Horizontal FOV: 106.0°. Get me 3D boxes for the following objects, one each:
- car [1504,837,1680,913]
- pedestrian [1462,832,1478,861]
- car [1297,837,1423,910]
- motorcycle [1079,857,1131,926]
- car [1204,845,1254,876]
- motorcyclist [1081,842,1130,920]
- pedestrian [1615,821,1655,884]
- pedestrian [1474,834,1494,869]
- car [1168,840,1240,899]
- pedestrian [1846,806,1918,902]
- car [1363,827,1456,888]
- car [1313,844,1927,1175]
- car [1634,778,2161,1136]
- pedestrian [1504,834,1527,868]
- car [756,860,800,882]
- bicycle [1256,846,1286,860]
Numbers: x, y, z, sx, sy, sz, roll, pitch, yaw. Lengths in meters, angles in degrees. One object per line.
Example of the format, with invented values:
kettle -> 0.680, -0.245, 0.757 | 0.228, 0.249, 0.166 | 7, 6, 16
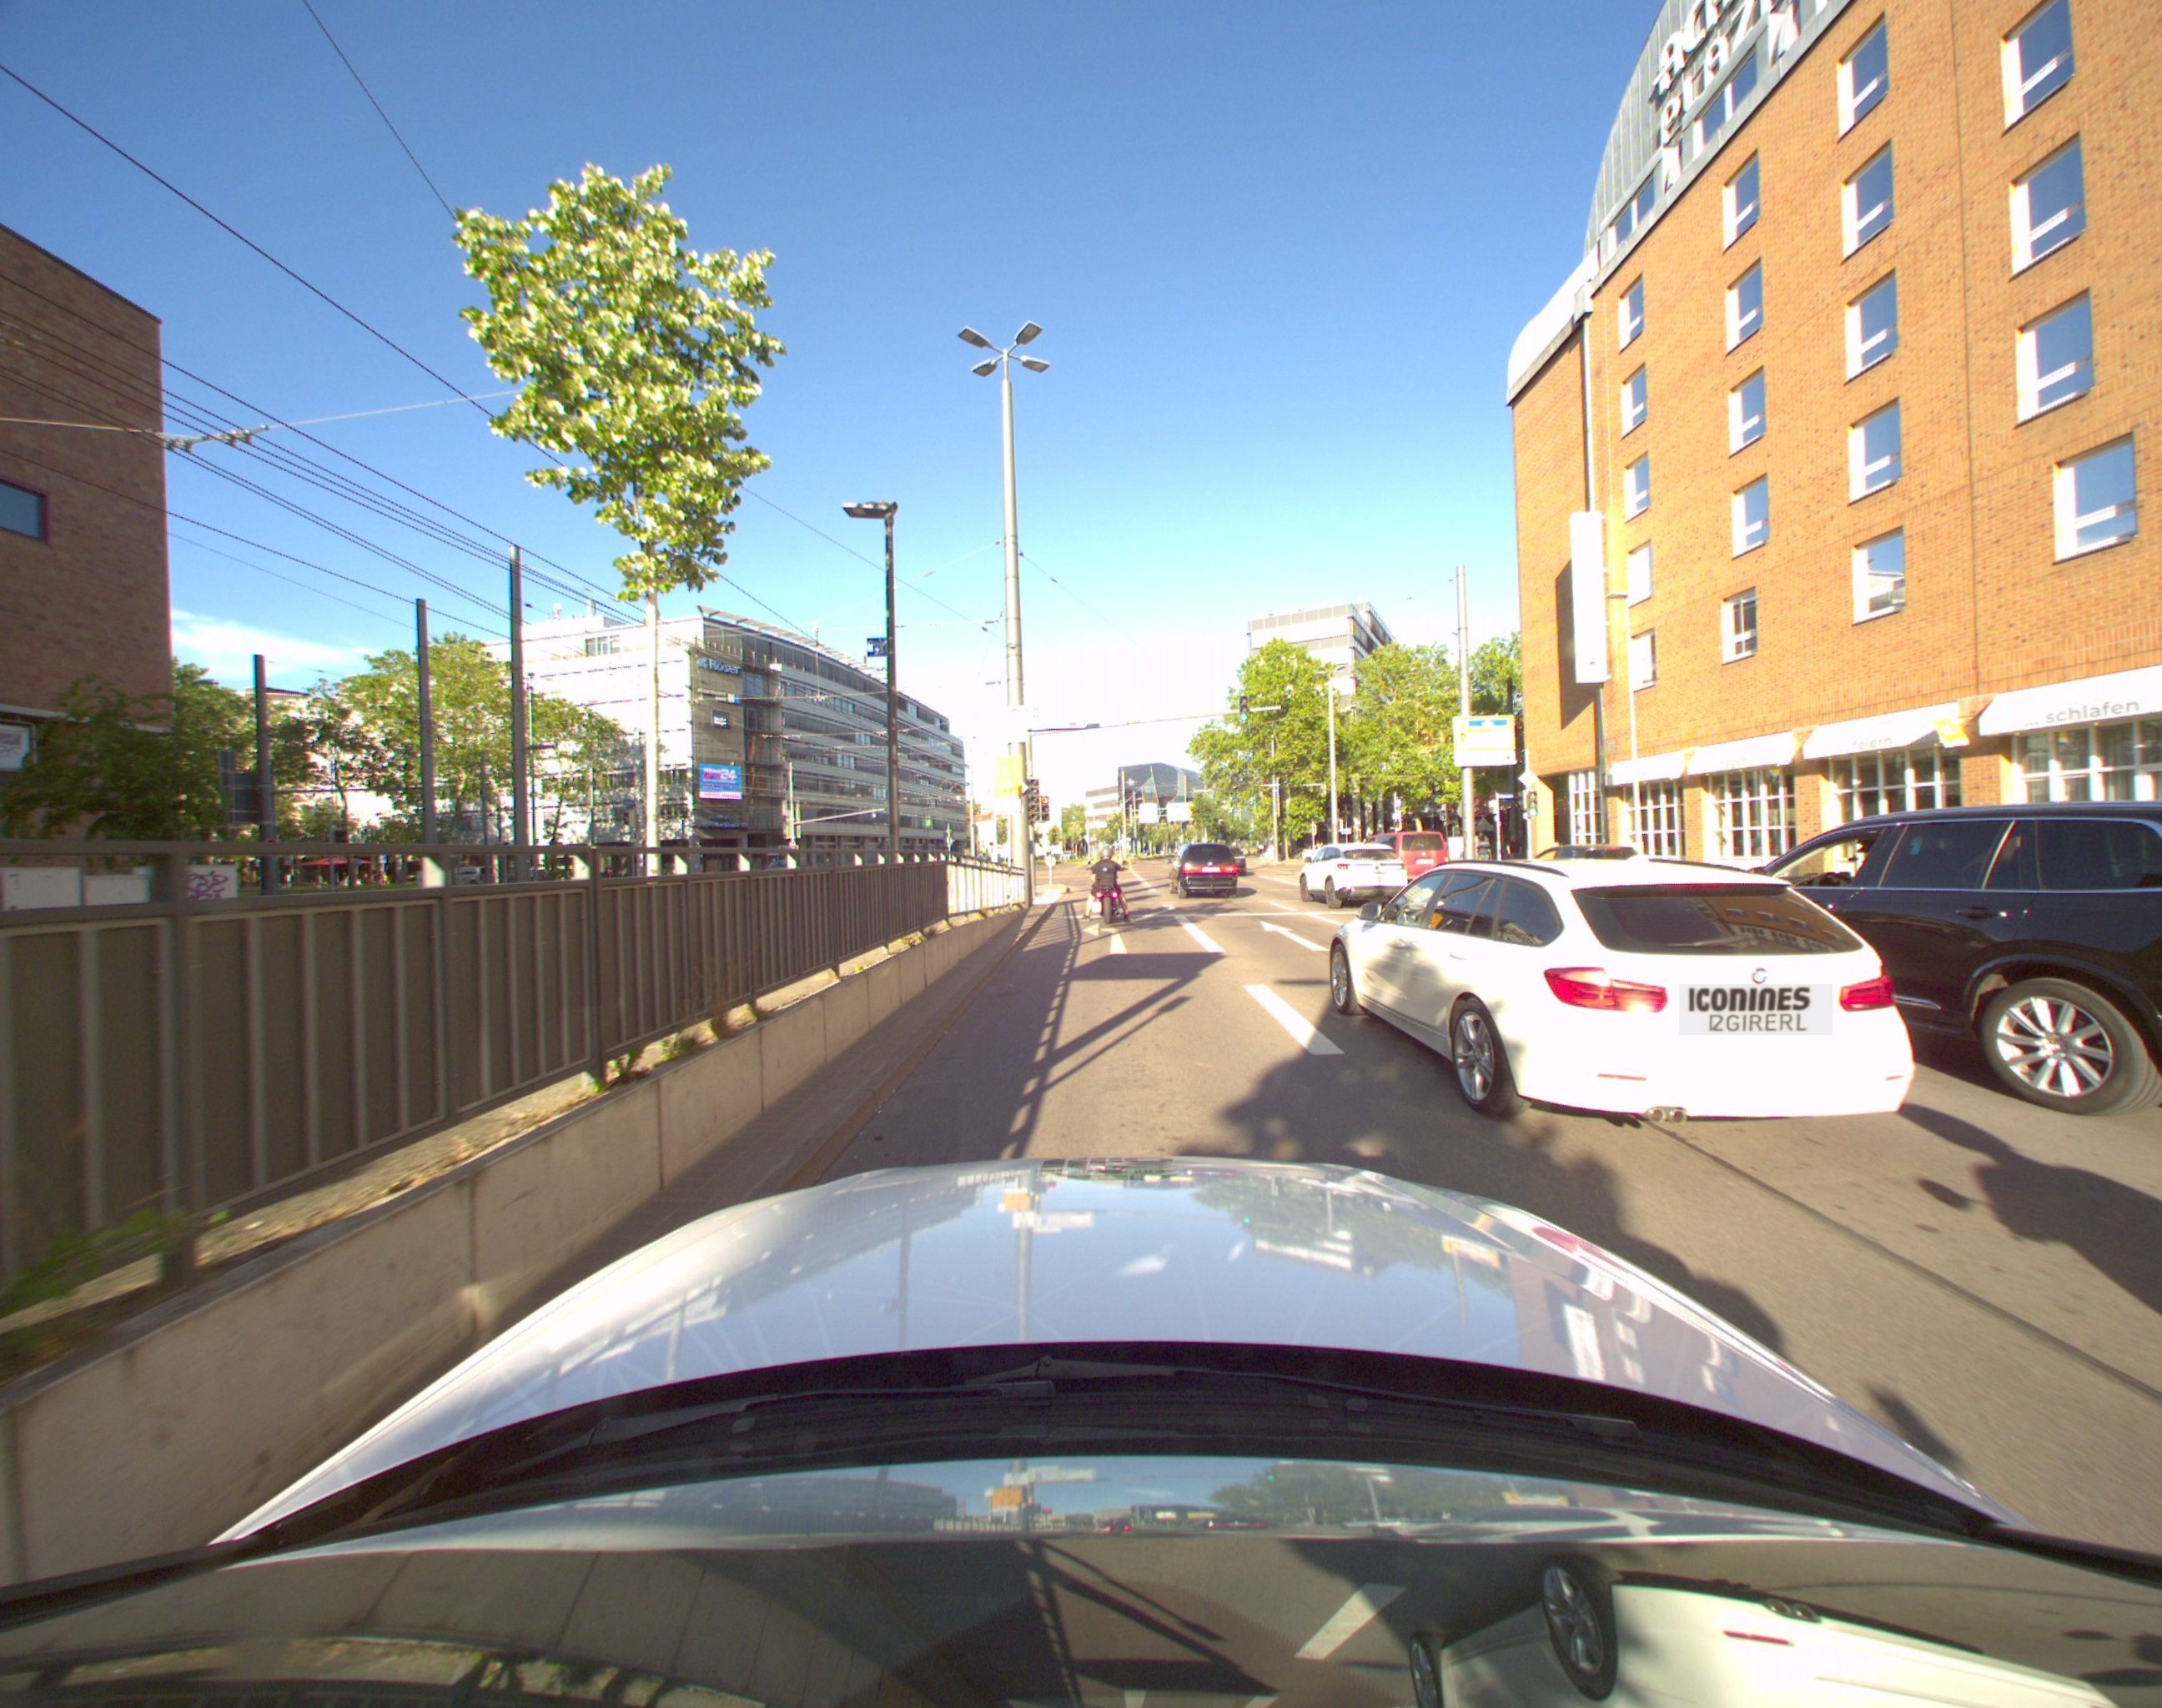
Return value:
car -> 11.808, 0.436, 19.170 | 1.661, 1.530, 4.001 | -2, 0, 1
pedestrian -> 22.241, -0.433, 46.608 | 0.694, 1.661, 0.520 | 0, 0, 2
car -> 7.000, 0.440, 20.937 | 1.844, 1.639, 4.381 | -1, 0, 2
motorcycle -> 0.531, 0.731, 17.313 | 1.015, 1.312, 2.916 | 0, 0, 2
car -> 7.465, 0.298, 41.315 | 1.844, 1.497, 4.381 | -1, 0, 2
motorcyclist -> 0.528, 0.557, 17.397 | 1.015, 1.603, 1.149 | 0, 0, 2
pedestrian -> 16.336, -0.036, 24.027 | 0.604, 1.821, 0.748 | -2, -1, 1
pedestrian -> 19.180, -0.120, 38.769 | 0.681, 1.661, 0.520 | 0, 0, 2
car -> 3.812, 0.438, 25.836 | 1.791, 1.705, 4.065 | -1, 0, 2
pedestrian -> 15.730, 0.009, 16.010 | 0.604, 1.821, 0.748 | -2, -1, 1
car -> 11.647, 0.114, 29.188 | 1.852, 1.961, 4.004 | -2, 0, 3
car -> 3.075, 0.694, 5.911 | 1.686, 1.496, 4.411 | 0, 0, 2
car -> 6.370, 0.499, 5.740 | 1.967, 1.759, 4.635 | 0, 0, 2
pedestrian -> 21.132, -0.143, 39.611 | 0.823, 1.661, 0.520 | 0, 0, 2
car -> -21.778, 1.214, 58.697 | 1.991, 1.464, 3.992 | -2, 0, -6
bicycle -> 17.944, -0.081, 76.802 | 2.666, 1.244, 0.531 | -2, 0, 24
